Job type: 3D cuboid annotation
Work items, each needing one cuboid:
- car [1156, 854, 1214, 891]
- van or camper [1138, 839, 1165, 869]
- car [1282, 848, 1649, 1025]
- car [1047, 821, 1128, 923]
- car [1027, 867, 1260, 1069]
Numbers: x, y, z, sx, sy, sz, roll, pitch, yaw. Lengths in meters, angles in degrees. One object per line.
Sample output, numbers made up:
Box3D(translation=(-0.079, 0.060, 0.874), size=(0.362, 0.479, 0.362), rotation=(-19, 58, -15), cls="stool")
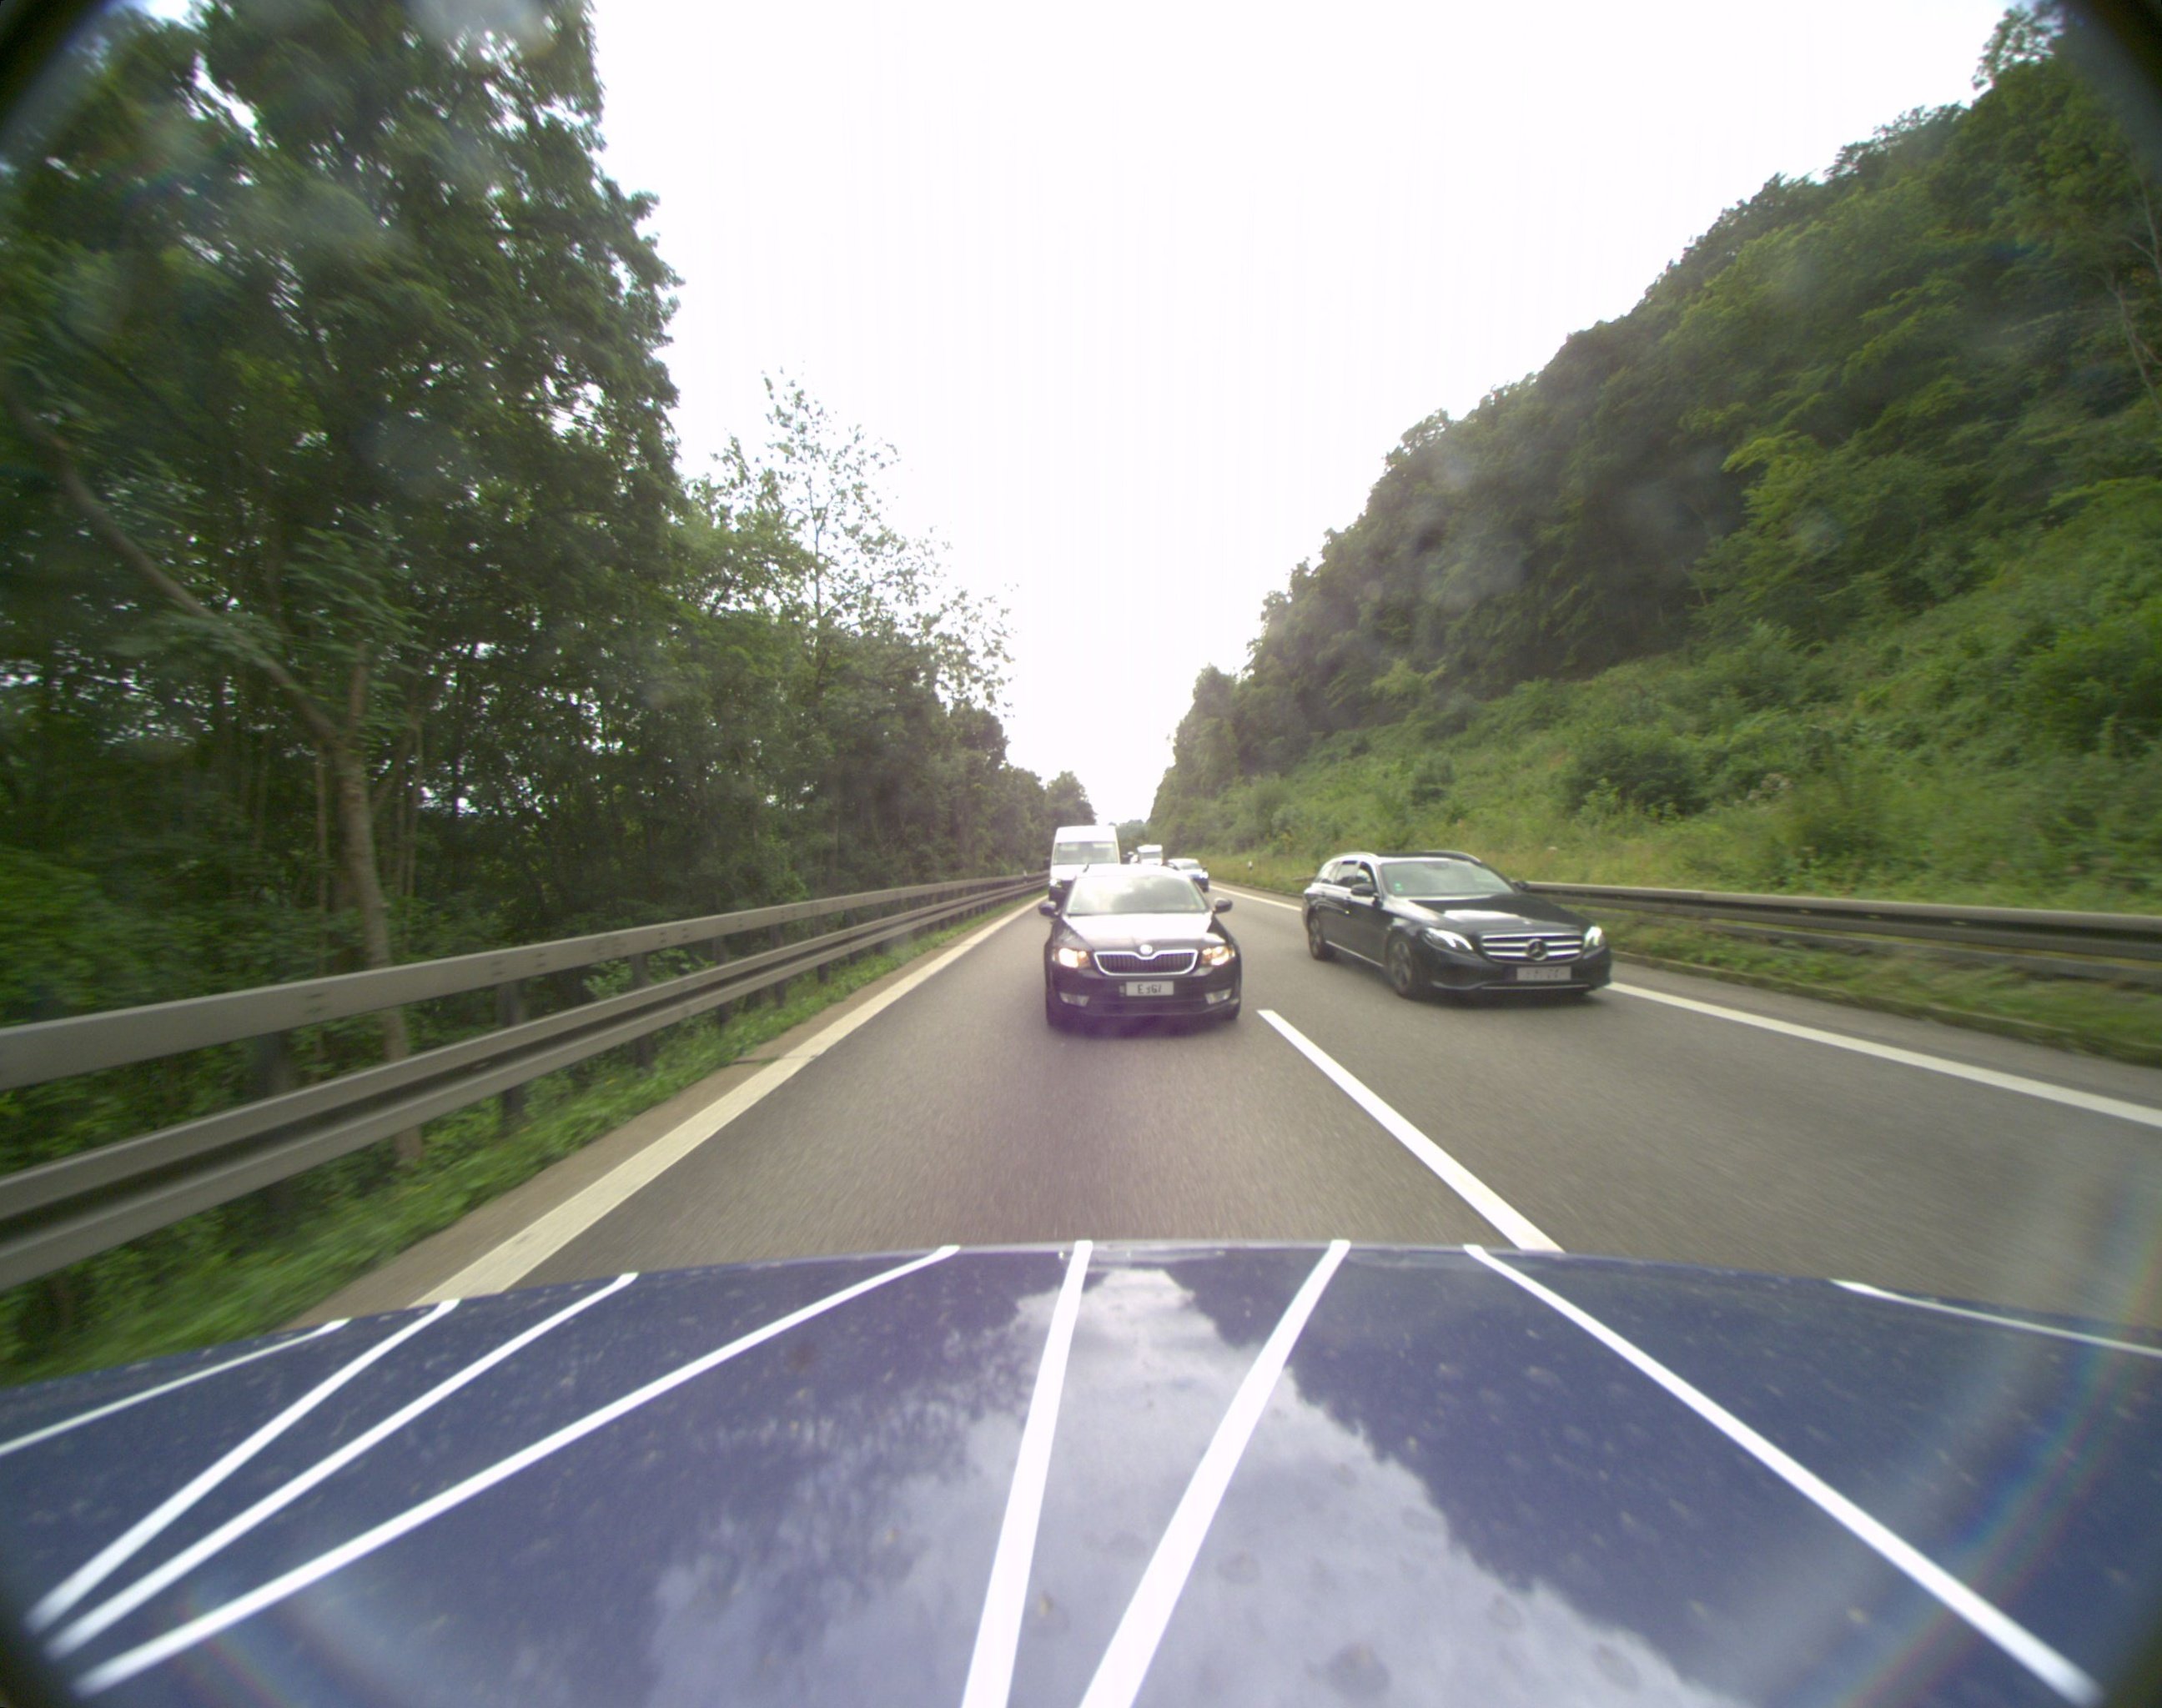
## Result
Box3D(translation=(4.520, 0.753, 33.656), size=(1.840, 1.460, 4.555), rotation=(-2, 0, 0), cls="car")
Box3D(translation=(6.769, 0.020, 73.780), size=(2.270, 2.719, 7.026), rotation=(-2, 0, 3), cls="van or camper")
Box3D(translation=(3.985, 0.735, 9.100), size=(1.765, 1.455, 5.123), rotation=(-2, 0, 0), cls="car")
Box3D(translation=(0.219, 0.463, 22.222), size=(2.001, 2.545, 5.128), rotation=(-2, 0, 1), cls="car")
Box3D(translation=(0.515, 0.922, 8.080), size=(1.751, 1.409, 4.401), rotation=(-2, 0, 1), cls="car")
